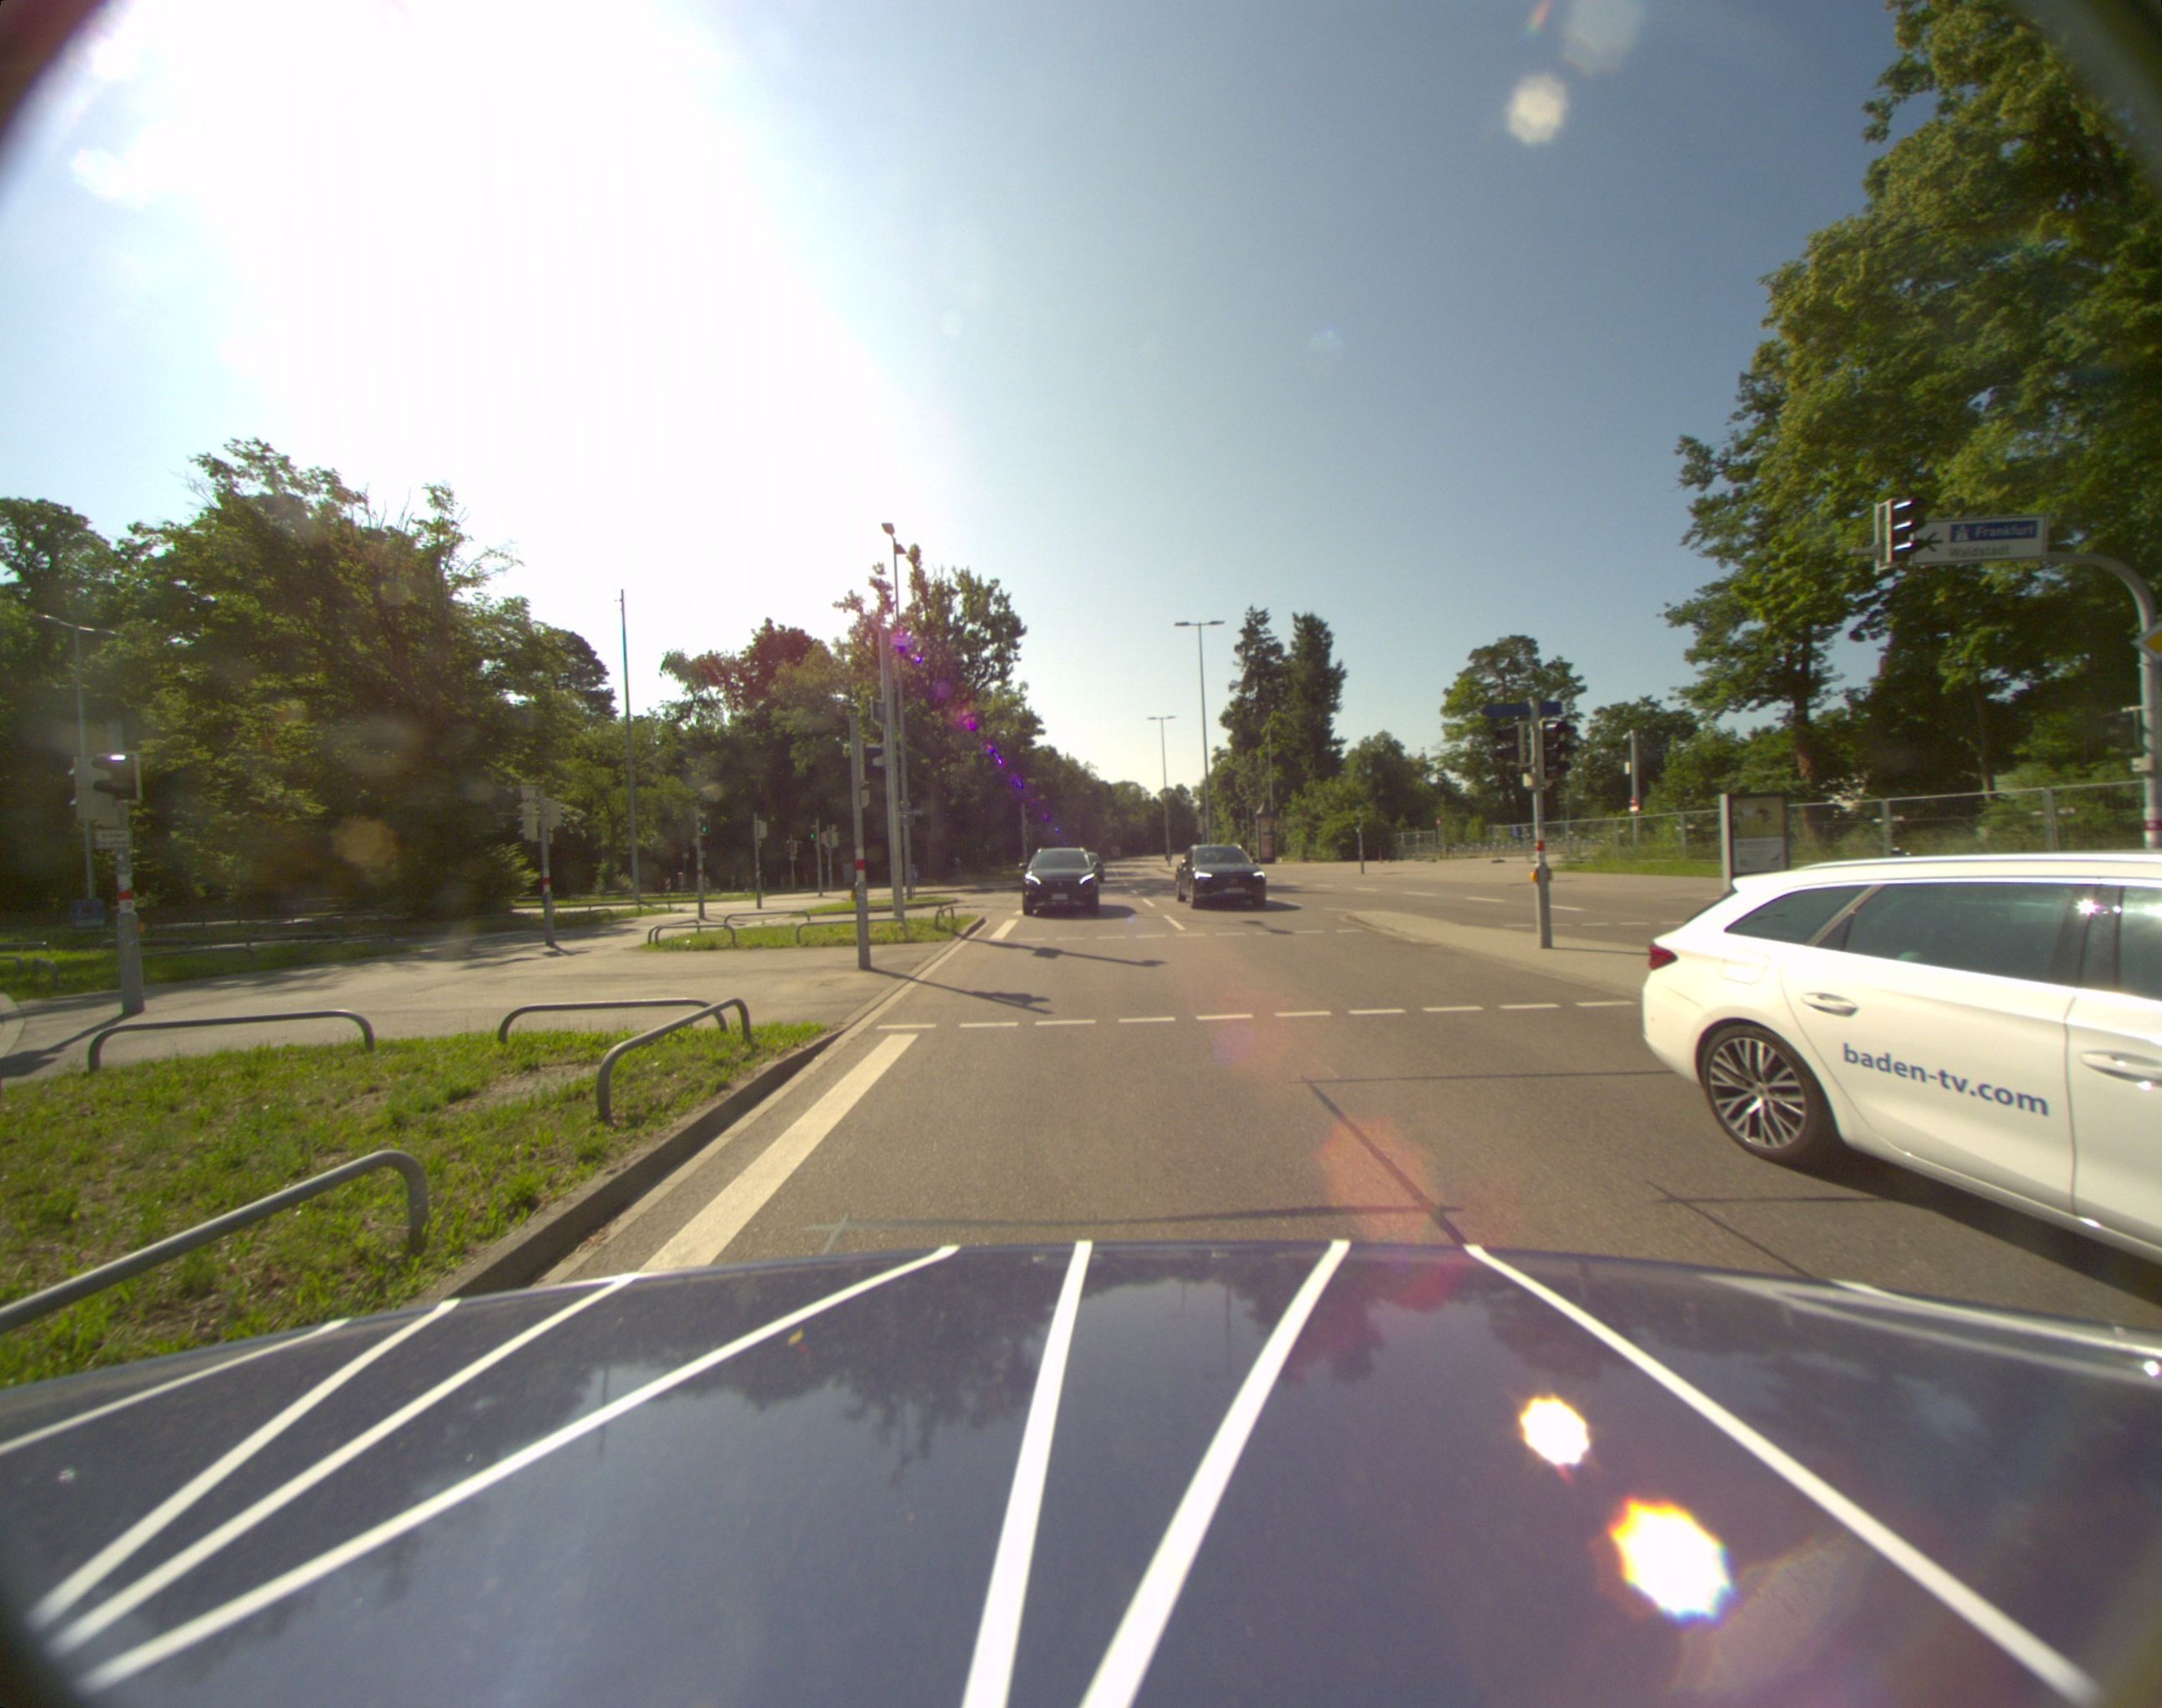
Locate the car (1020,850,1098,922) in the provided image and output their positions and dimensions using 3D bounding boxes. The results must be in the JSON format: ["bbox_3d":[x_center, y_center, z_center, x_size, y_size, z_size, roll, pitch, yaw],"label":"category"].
[{"bbox_3d":[-0.453,0.728,19.569,1.702,1.581,4.319,-3,0,1],"label":"car"}]

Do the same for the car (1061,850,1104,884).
[{"bbox_3d":[0.082,0.581,37.281,1.933,1.499,3.999,-2,0,0],"label":"car"}]

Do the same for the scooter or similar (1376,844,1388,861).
[{"bbox_3d":[20.875,-0.113,52.721,0.395,1.139,1.197,-3,1,6],"label":"scooter or similar"}]

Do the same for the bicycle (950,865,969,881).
[{"bbox_3d":[-9.684,1.490,60.635,0.725,1.192,2.103,-2,1,15],"label":"bicycle"}]

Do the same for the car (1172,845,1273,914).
[{"bbox_3d":[3.596,0.586,20.092,1.809,1.587,4.272,-1,1,-1],"label":"car"}]

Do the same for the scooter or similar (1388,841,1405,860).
[{"bbox_3d":[21.877,-0.246,52.740,1.082,1.215,0.395,-3,1,-23],"label":"scooter or similar"}]

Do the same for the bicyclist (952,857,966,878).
[{"bbox_3d":[-9.721,1.045,60.530,0.725,1.629,1.059,-2,1,15],"label":"bicyclist"}]

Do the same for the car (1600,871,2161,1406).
[{"bbox_3d":[3.929,0.844,2.124,1.729,1.418,4.719,-1,0,0],"label":"car"}]
